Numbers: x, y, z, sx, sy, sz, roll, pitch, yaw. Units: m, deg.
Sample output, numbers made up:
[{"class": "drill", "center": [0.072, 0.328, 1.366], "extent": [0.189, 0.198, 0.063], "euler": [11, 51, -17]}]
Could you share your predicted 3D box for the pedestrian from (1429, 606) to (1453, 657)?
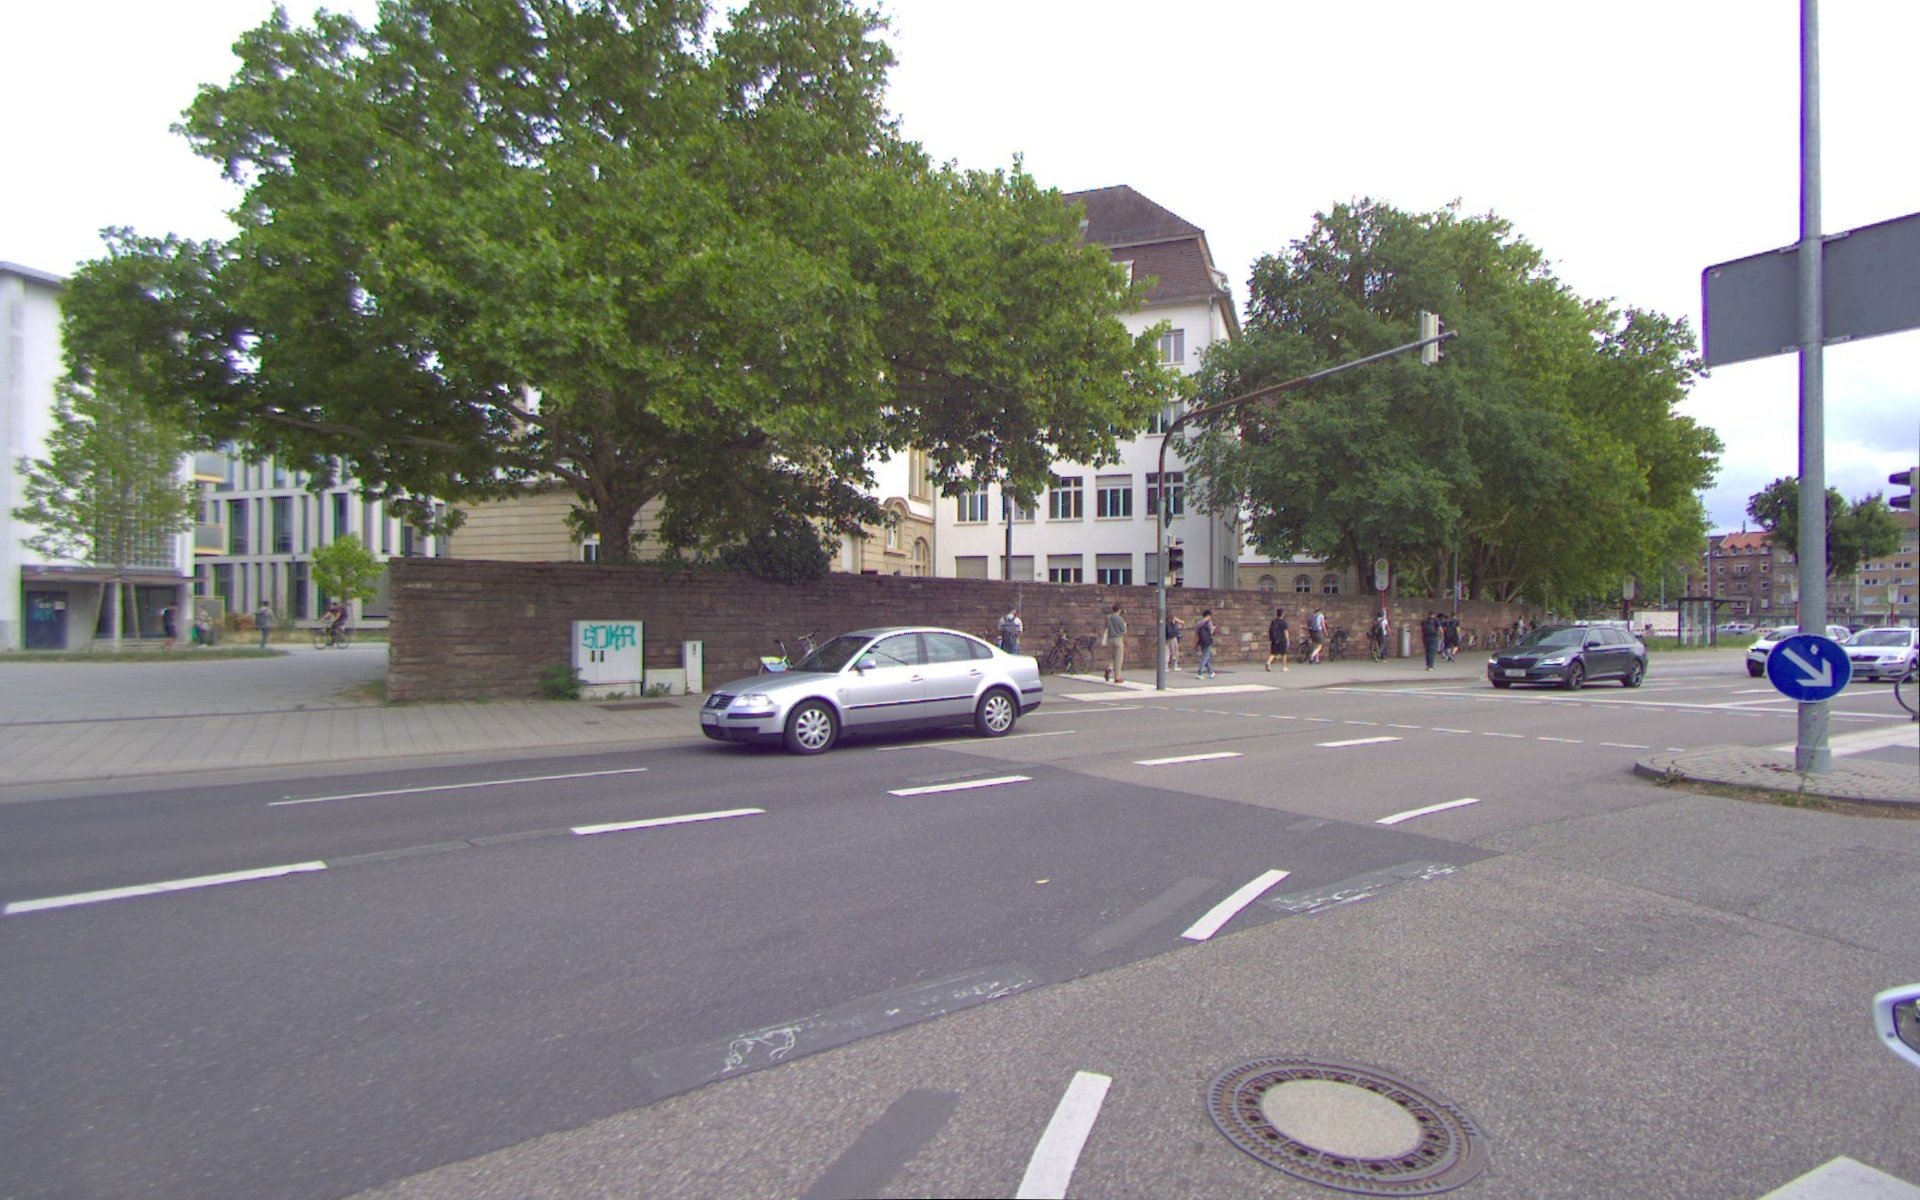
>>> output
[{"class": "pedestrian", "center": [17.556, 1.148, 36.660], "extent": [0.747, 1.806, 0.783], "euler": [1, -1, 29]}]

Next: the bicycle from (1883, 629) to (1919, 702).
[{"class": "bicycle", "center": [14.936, 0.980, 15.410], "extent": [1.902, 1.069, 0.571], "euler": [1, 0, -29]}]

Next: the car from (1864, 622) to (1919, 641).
[{"class": "car", "center": [80.335, 2.678, 85.650], "extent": [1.645, 1.495, 4.635], "euler": [1, 1, -37]}]

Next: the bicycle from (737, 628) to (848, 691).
[{"class": "bicycle", "center": [-3.296, 1.150, 19.902], "extent": [2.145, 1.141, 0.573], "euler": [1, 2, -37]}]

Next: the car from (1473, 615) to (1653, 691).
[{"class": "car", "center": [14.273, 1.181, 23.693], "extent": [4.696, 1.637, 1.885], "euler": [1, -1, -35]}]

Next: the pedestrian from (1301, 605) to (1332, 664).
[{"class": "pedestrian", "center": [11.227, 1.091, 31.645], "extent": [0.747, 1.806, 0.913], "euler": [1, -2, 29]}]

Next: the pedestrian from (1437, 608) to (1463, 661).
[{"class": "pedestrian", "center": [17.049, 1.188, 34.950], "extent": [0.747, 1.806, 0.923], "euler": [1, -2, 29]}]

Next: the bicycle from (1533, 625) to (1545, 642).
[{"class": "bicycle", "center": [32.135, 1.830, 55.746], "extent": [0.474, 0.919, 1.616], "euler": [0, -1, 34]}]

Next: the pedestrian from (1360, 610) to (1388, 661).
[{"class": "pedestrian", "center": [14.024, 1.191, 33.982], "extent": [0.747, 1.693, 0.923], "euler": [1, -2, 29]}]

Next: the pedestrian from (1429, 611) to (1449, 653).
[{"class": "pedestrian", "center": [18.996, 1.268, 39.805], "extent": [0.578, 1.613, 0.733], "euler": [1, -2, 35]}]

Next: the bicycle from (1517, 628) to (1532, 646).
[{"class": "bicycle", "center": [28.964, 1.890, 51.535], "extent": [0.435, 0.890, 1.615], "euler": [3, 1, 36]}]

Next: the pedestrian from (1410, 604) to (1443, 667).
[{"class": "pedestrian", "center": [13.868, 1.050, 29.848], "extent": [0.748, 1.806, 0.720], "euler": [1, -2, 34]}]

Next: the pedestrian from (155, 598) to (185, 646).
[{"class": "pedestrian", "center": [-26.194, 0.727, 33.297], "extent": [0.649, 1.569, 0.705], "euler": [1, -1, -29]}]

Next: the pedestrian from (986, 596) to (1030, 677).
[{"class": "pedestrian", "center": [1.107, 0.825, 22.915], "extent": [0.732, 1.806, 0.783], "euler": [1, -1, 23]}]

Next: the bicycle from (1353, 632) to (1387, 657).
[{"class": "bicycle", "center": [14.627, 1.579, 35.839], "extent": [1.608, 0.807, 0.437], "euler": [0, 2, -42]}]

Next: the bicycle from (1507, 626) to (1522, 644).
[{"class": "bicycle", "center": [27.358, 1.719, 49.545], "extent": [0.342, 0.890, 1.515], "euler": [3, 1, 40]}]

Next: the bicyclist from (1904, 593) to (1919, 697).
[{"class": "bicyclist", "center": [15.071, 0.696, 15.483], "extent": [0.690, 1.595, 0.570], "euler": [1, 0, -28]}]

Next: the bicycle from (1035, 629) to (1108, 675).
[{"class": "bicycle", "center": [2.802, 1.279, 25.109], "extent": [1.964, 1.072, 0.544], "euler": [1, 2, -39]}]

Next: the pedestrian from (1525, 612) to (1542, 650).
[{"class": "pedestrian", "center": [25.754, 1.380, 45.107], "extent": [0.553, 1.690, 0.624], "euler": [1, -2, 41]}]

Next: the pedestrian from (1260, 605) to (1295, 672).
[{"class": "pedestrian", "center": [8.757, 1.050, 27.676], "extent": [0.747, 1.806, 0.783], "euler": [1, -1, 29]}]

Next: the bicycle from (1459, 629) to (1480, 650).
[{"class": "bicycle", "center": [21.900, 1.694, 43.179], "extent": [0.435, 0.838, 1.613], "euler": [3, 1, 40]}]

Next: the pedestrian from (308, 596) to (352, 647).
[{"class": "pedestrian", "center": [-25.943, 0.892, 41.368], "extent": [0.899, 2.040, 1.232], "euler": [0, -1, 16]}]

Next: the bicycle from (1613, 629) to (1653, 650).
[{"class": "bicycle", "center": [31.761, 1.861, 47.380], "extent": [2.307, 0.931, 0.468], "euler": [1, -1, -25]}]

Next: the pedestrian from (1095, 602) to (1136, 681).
[{"class": "pedestrian", "center": [3.648, 0.965, 23.513], "extent": [0.733, 1.806, 0.783], "euler": [1, -1, 25]}]

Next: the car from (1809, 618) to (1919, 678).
[{"class": "car", "center": [25.186, 1.260, 27.454], "extent": [4.240, 1.509, 1.792], "euler": [1, -1, -31]}]

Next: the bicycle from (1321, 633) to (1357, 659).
[{"class": "bicycle", "center": [12.956, 1.574, 34.335], "extent": [1.608, 0.807, 0.437], "euler": [0, 2, -42]}]

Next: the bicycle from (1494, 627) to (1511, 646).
[{"class": "bicycle", "center": [25.888, 1.736, 47.914], "extent": [0.411, 0.890, 1.548], "euler": [3, 1, 40]}]

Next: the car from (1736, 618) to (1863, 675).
[{"class": "car", "center": [26.269, 1.407, 31.387], "extent": [4.374, 1.674, 1.854], "euler": [1, -1, -33]}]

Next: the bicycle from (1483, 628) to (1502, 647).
[{"class": "bicycle", "center": [24.450, 1.698, 46.116], "extent": [0.435, 0.838, 1.613], "euler": [3, 1, 40]}]

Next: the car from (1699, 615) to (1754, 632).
[{"class": "car", "center": [76.268, 2.299, 99.973], "extent": [1.632, 1.671, 4.123], "euler": [1, -1, -38]}]

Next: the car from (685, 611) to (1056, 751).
[{"class": "car", "center": [-1.043, 0.920, 12.921], "extent": [4.500, 1.509, 1.750], "euler": [1, -1, -35]}]

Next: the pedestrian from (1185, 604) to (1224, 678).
[{"class": "pedestrian", "center": [6.099, 1.010, 25.031], "extent": [0.747, 1.806, 0.783], "euler": [1, -1, 28]}]

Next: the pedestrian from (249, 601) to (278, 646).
[{"class": "pedestrian", "center": [-24.648, 0.821, 35.558], "extent": [0.727, 1.569, 0.699], "euler": [1, -1, -29]}]

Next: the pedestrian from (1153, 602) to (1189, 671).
[{"class": "pedestrian", "center": [5.692, 0.984, 27.047], "extent": [0.747, 1.806, 0.783], "euler": [1, -1, 26]}]
